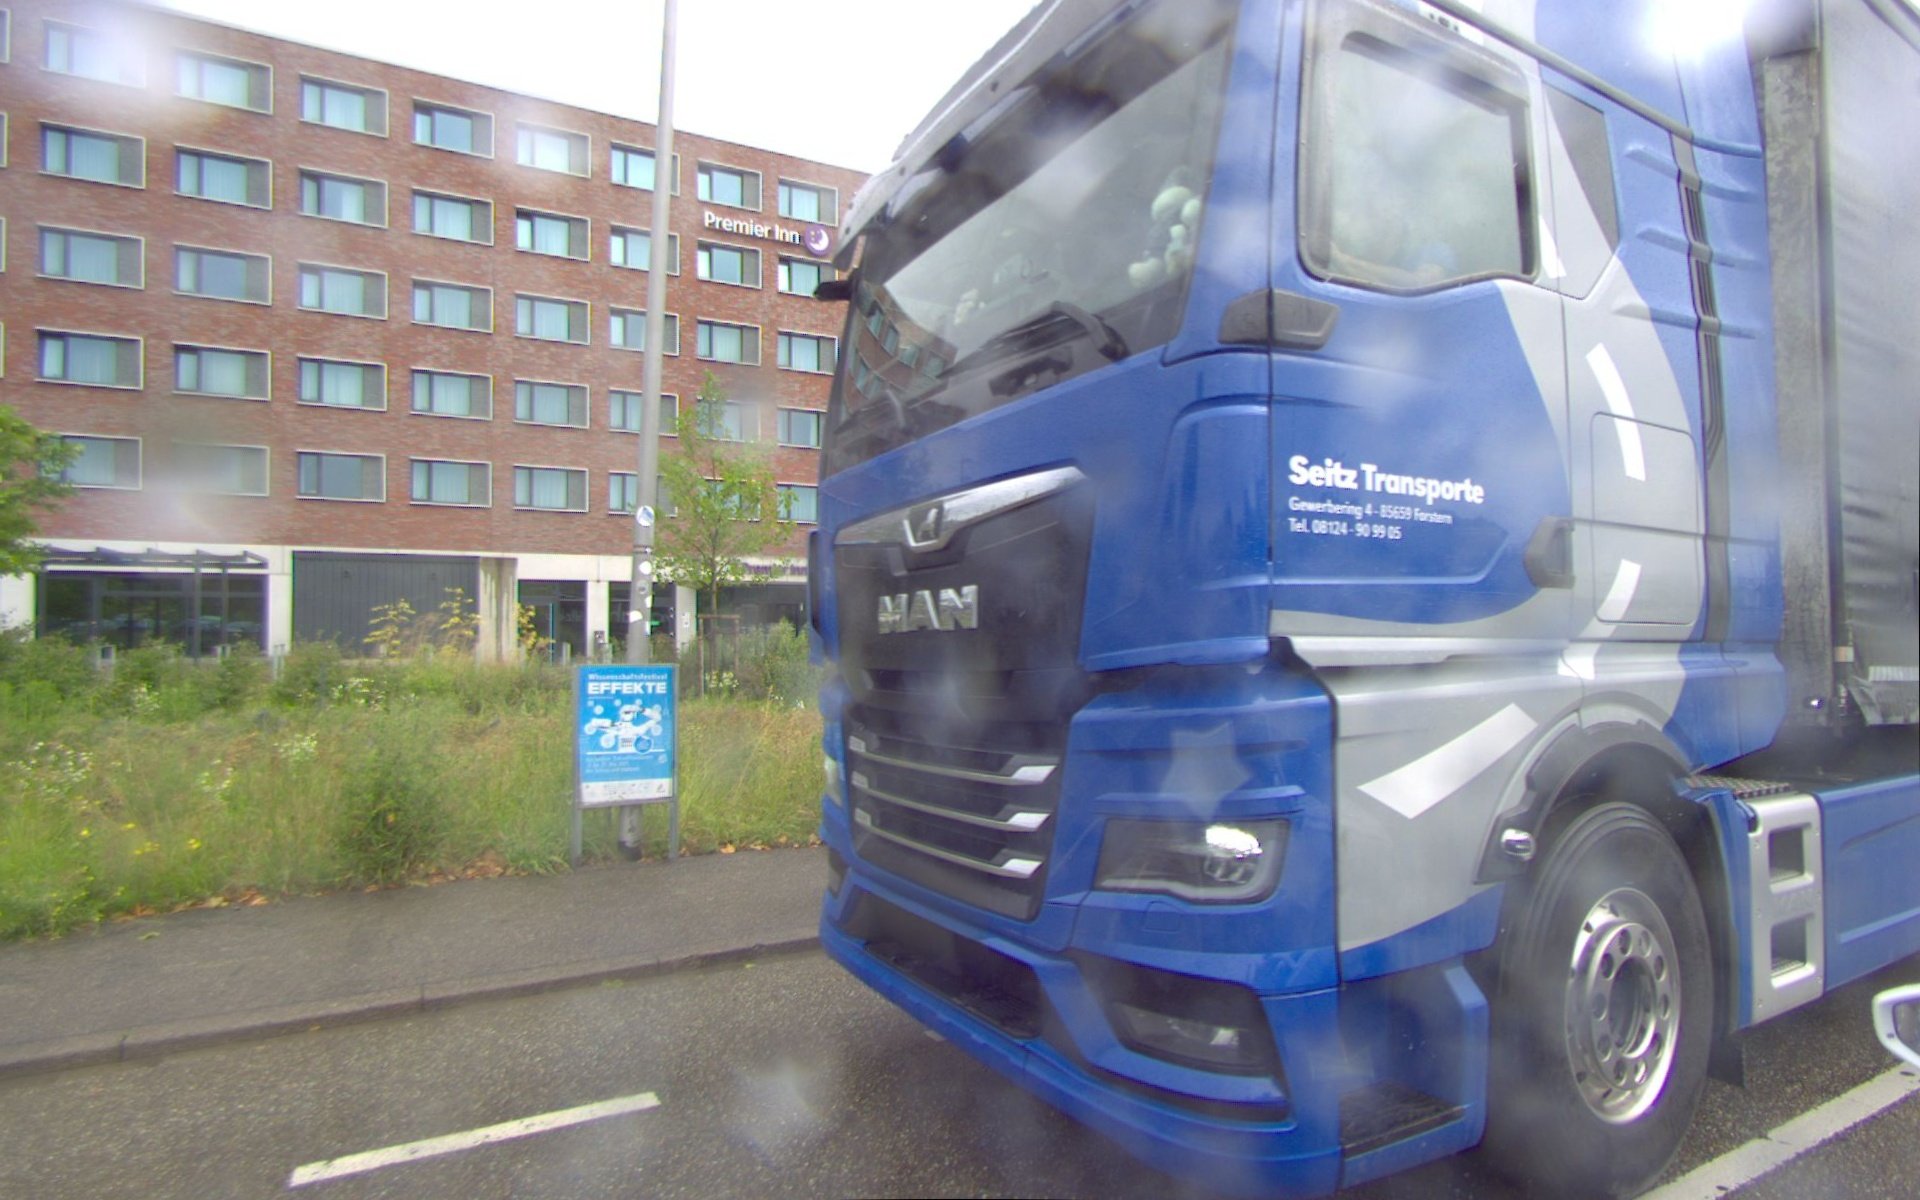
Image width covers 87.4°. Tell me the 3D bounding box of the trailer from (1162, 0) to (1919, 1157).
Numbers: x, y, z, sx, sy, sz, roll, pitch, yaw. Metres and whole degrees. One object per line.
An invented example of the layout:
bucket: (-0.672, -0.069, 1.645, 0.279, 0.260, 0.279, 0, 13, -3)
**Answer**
trailer: (7.837, -0.372, 8.189, 13.579, 4.715, 3.277, 2, -2, -32)

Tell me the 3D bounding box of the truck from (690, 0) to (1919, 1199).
truck: (2.191, -0.694, 4.733, 5.965, 4.715, 3.277, 2, -2, -32)
